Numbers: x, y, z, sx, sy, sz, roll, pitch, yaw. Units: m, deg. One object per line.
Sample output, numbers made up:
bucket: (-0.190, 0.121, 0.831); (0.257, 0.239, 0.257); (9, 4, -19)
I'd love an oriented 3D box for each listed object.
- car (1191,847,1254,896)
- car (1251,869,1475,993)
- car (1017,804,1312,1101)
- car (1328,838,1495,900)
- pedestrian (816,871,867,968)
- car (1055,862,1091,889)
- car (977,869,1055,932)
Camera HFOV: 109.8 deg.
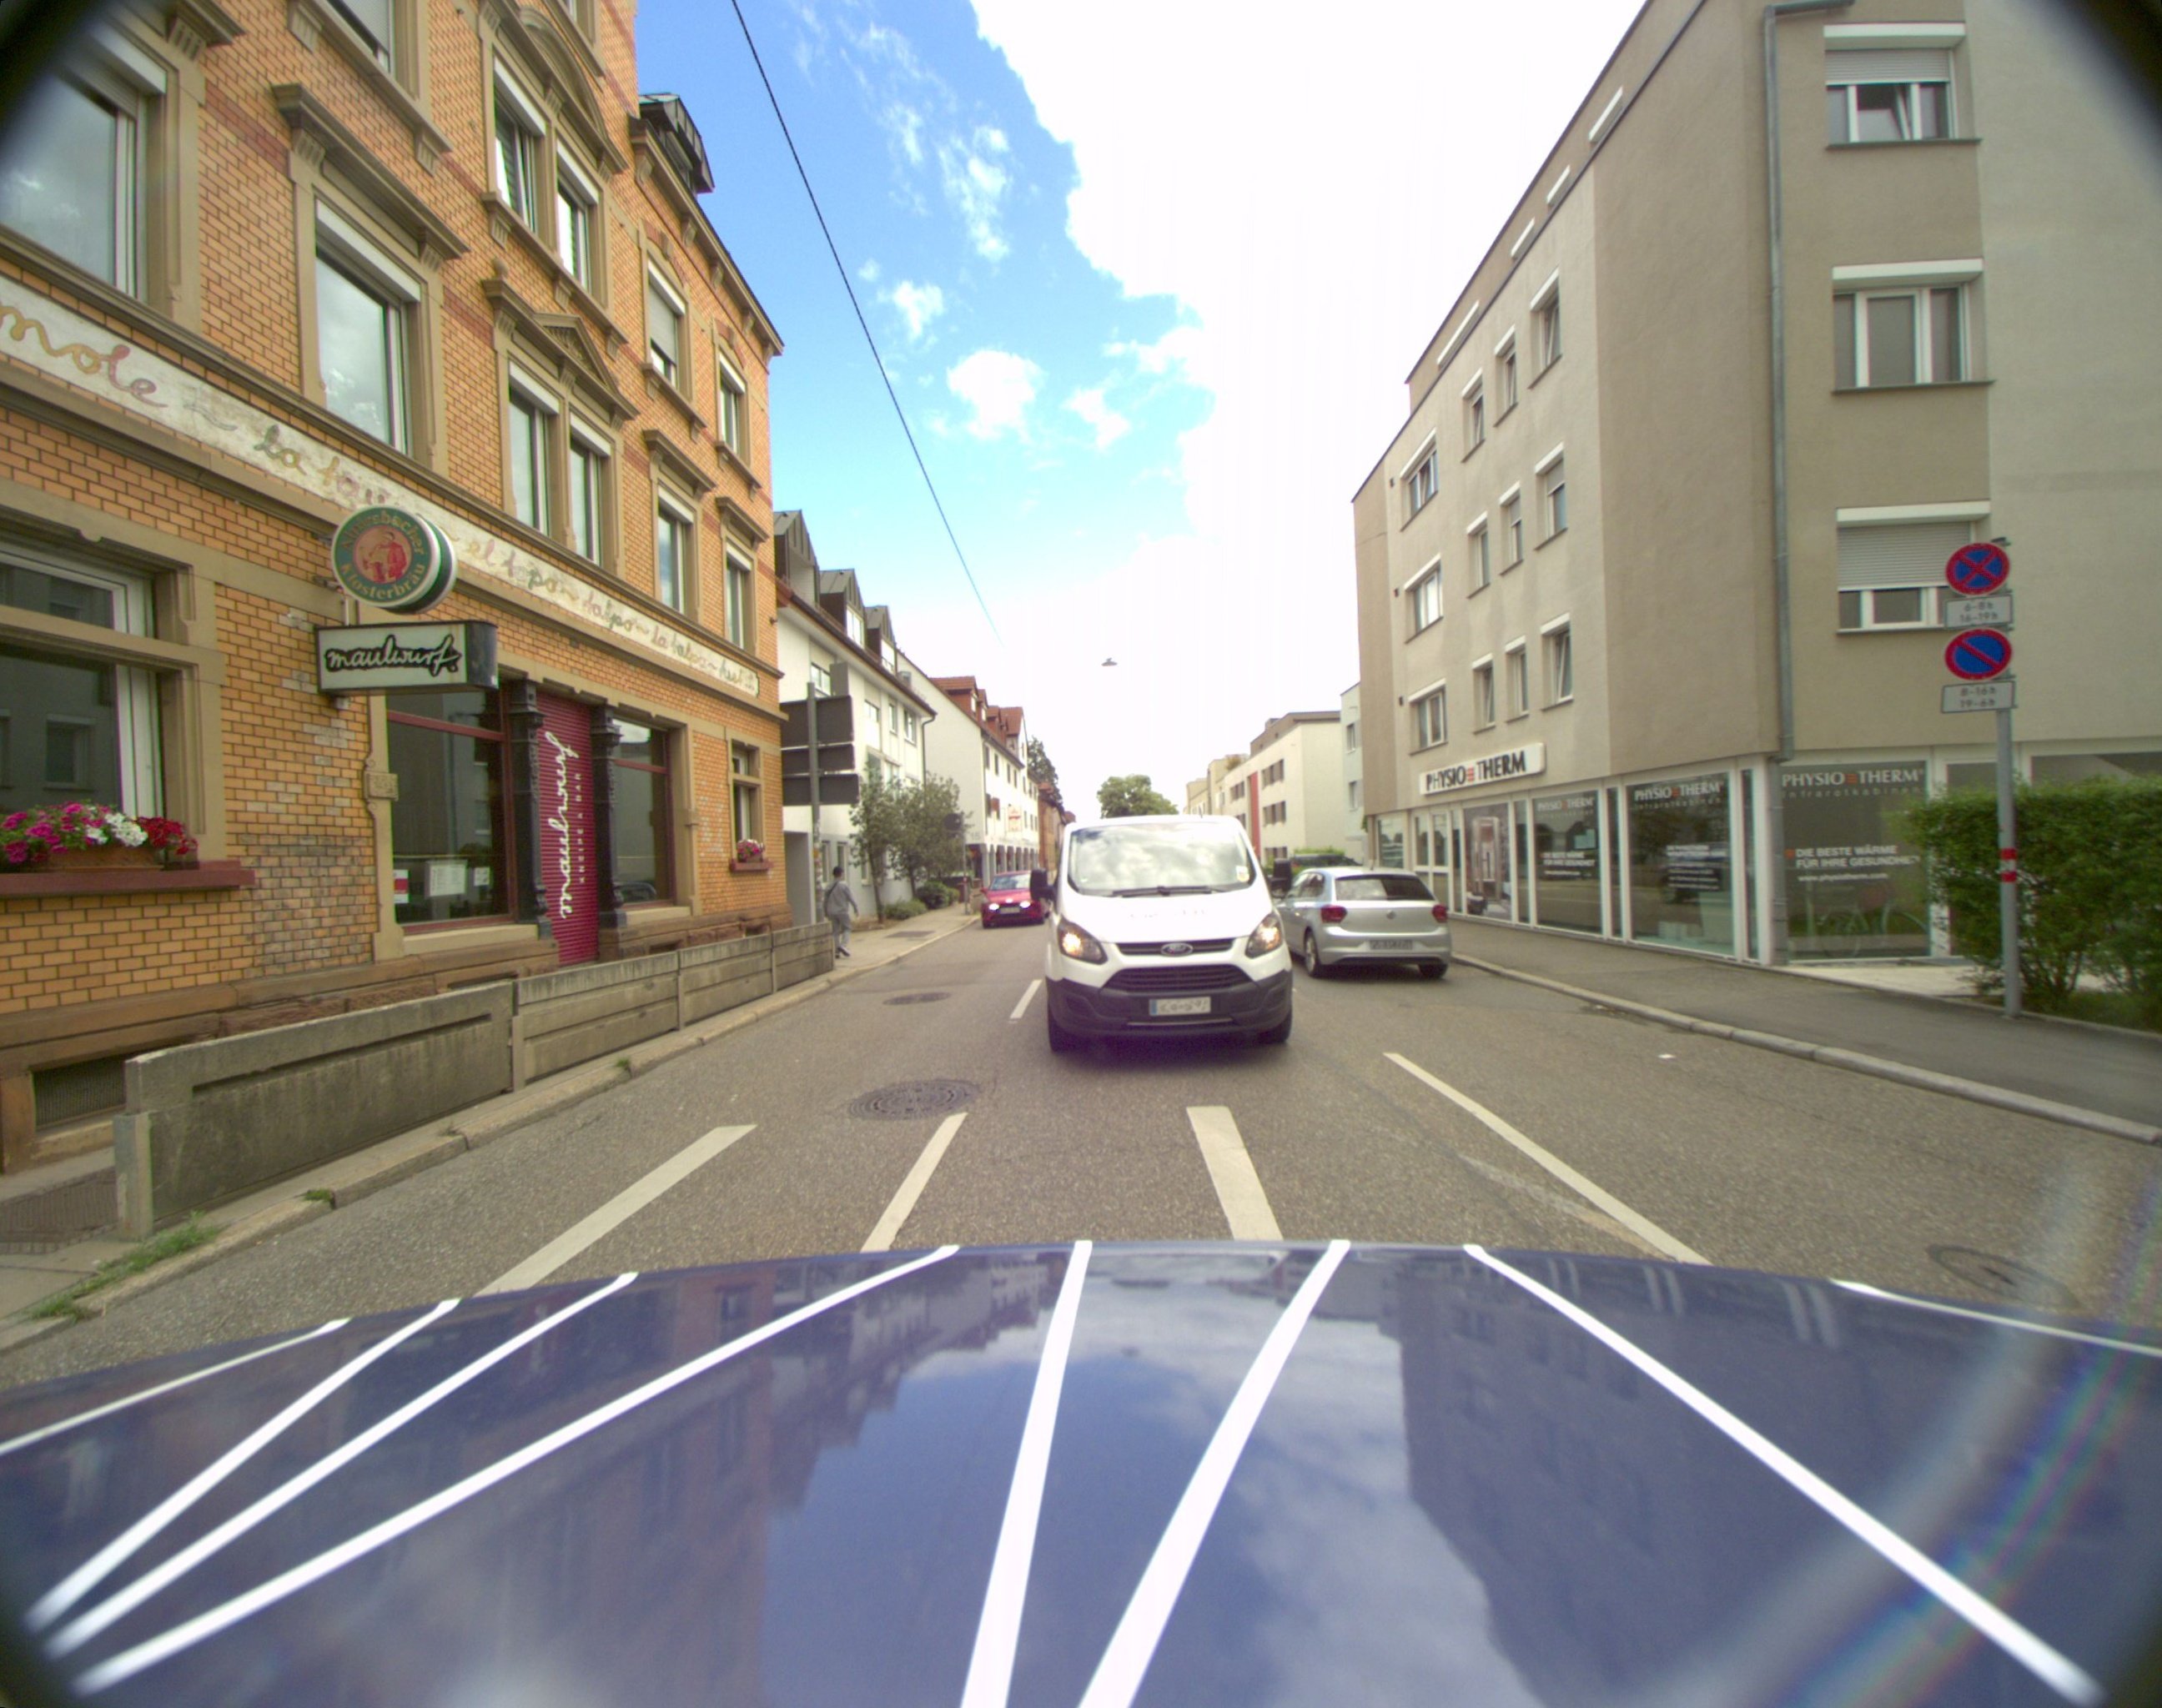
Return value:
car: (6.102, 0.715, 33.322); (1.964, 1.986, 4.761); (0, 0, 1)
car: (3.814, 0.962, 11.073); (1.804, 1.409, 4.000); (0, 0, 0)
car: (0.588, 0.689, 7.764); (1.965, 1.986, 5.087); (-2, 0, 0)
car: (11.741, 0.526, 27.253); (5.082, 1.986, 1.967); (-2, 0, 4)
pedestrian: (-4.431, 1.193, 14.104); (0.690, 1.720, 0.650); (-2, 0, 0)
car: (-0.477, 1.386, 50.300); (1.998, 1.537, 4.572); (-4, 0, 3)
car: (-1.784, 1.264, 21.935); (1.702, 1.443, 4.000); (-4, 0, 1)
